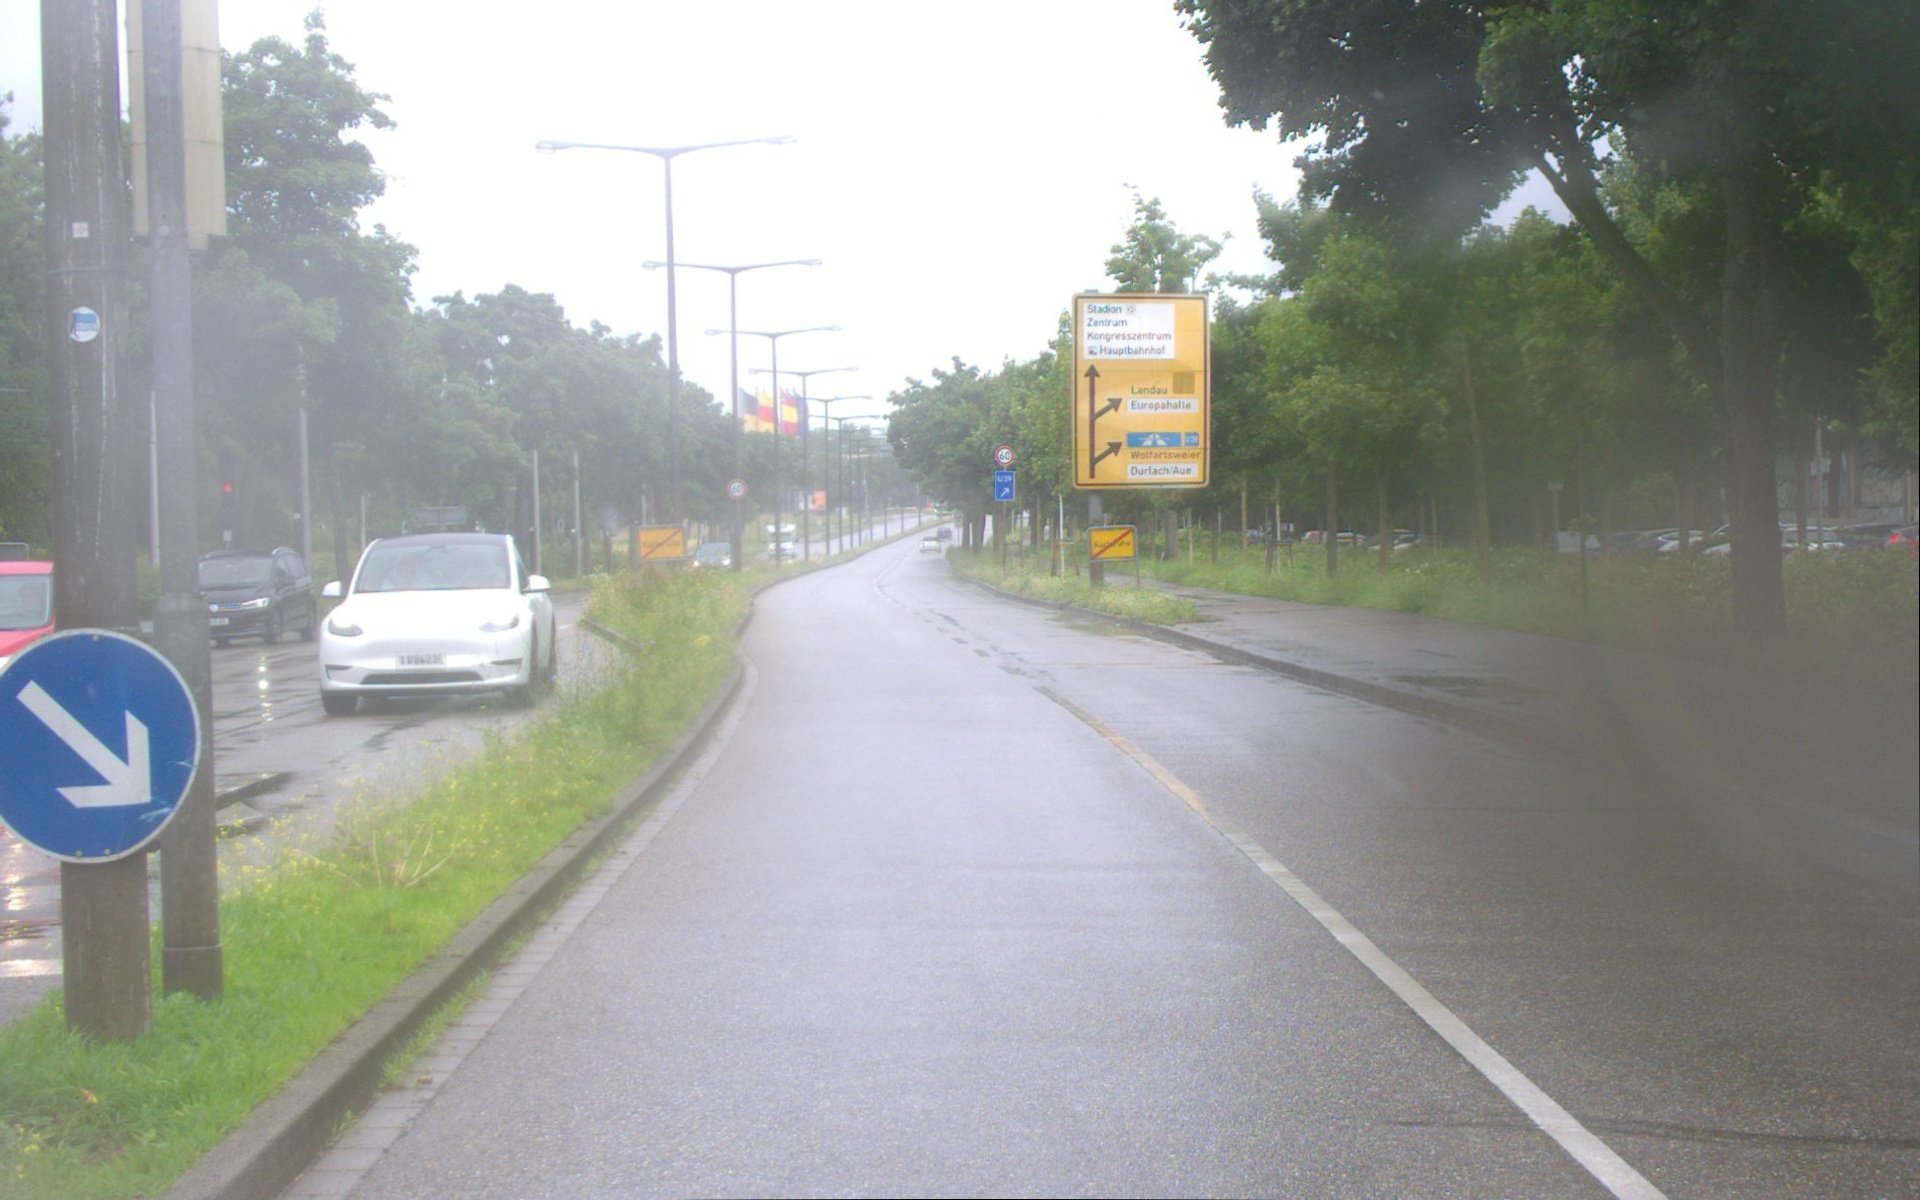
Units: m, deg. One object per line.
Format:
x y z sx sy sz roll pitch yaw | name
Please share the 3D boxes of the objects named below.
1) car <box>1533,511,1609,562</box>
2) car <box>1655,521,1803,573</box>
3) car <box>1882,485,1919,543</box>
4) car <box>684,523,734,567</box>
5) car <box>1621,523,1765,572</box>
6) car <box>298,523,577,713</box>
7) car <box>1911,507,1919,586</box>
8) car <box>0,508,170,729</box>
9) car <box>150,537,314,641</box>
19.124 -2.016 107.728 1.745 1.440 4.122 -1 3 2 | car
26.524 -1.812 118.615 4.569 1.699 2.000 1 1 -4 | car
26.838 -2.241 90.925 4.333 1.479 1.946 1 1 -4 | car
-10.125 -2.237 138.972 1.743 1.644 4.137 -3 1 -2 | car
25.926 -1.853 121.638 4.569 1.639 2.000 1 1 -6 | car
-4.853 0.103 32.560 1.961 1.611 4.698 -1 1 -1 | car
18.962 -0.981 63.222 1.637 1.481 4.073 1 1 -3 | car
-7.539 0.150 26.761 1.801 1.564 4.429 -3 0 -1 | car
-12.473 -0.221 59.107 1.707 1.636 4.331 -3 1 2 | car
